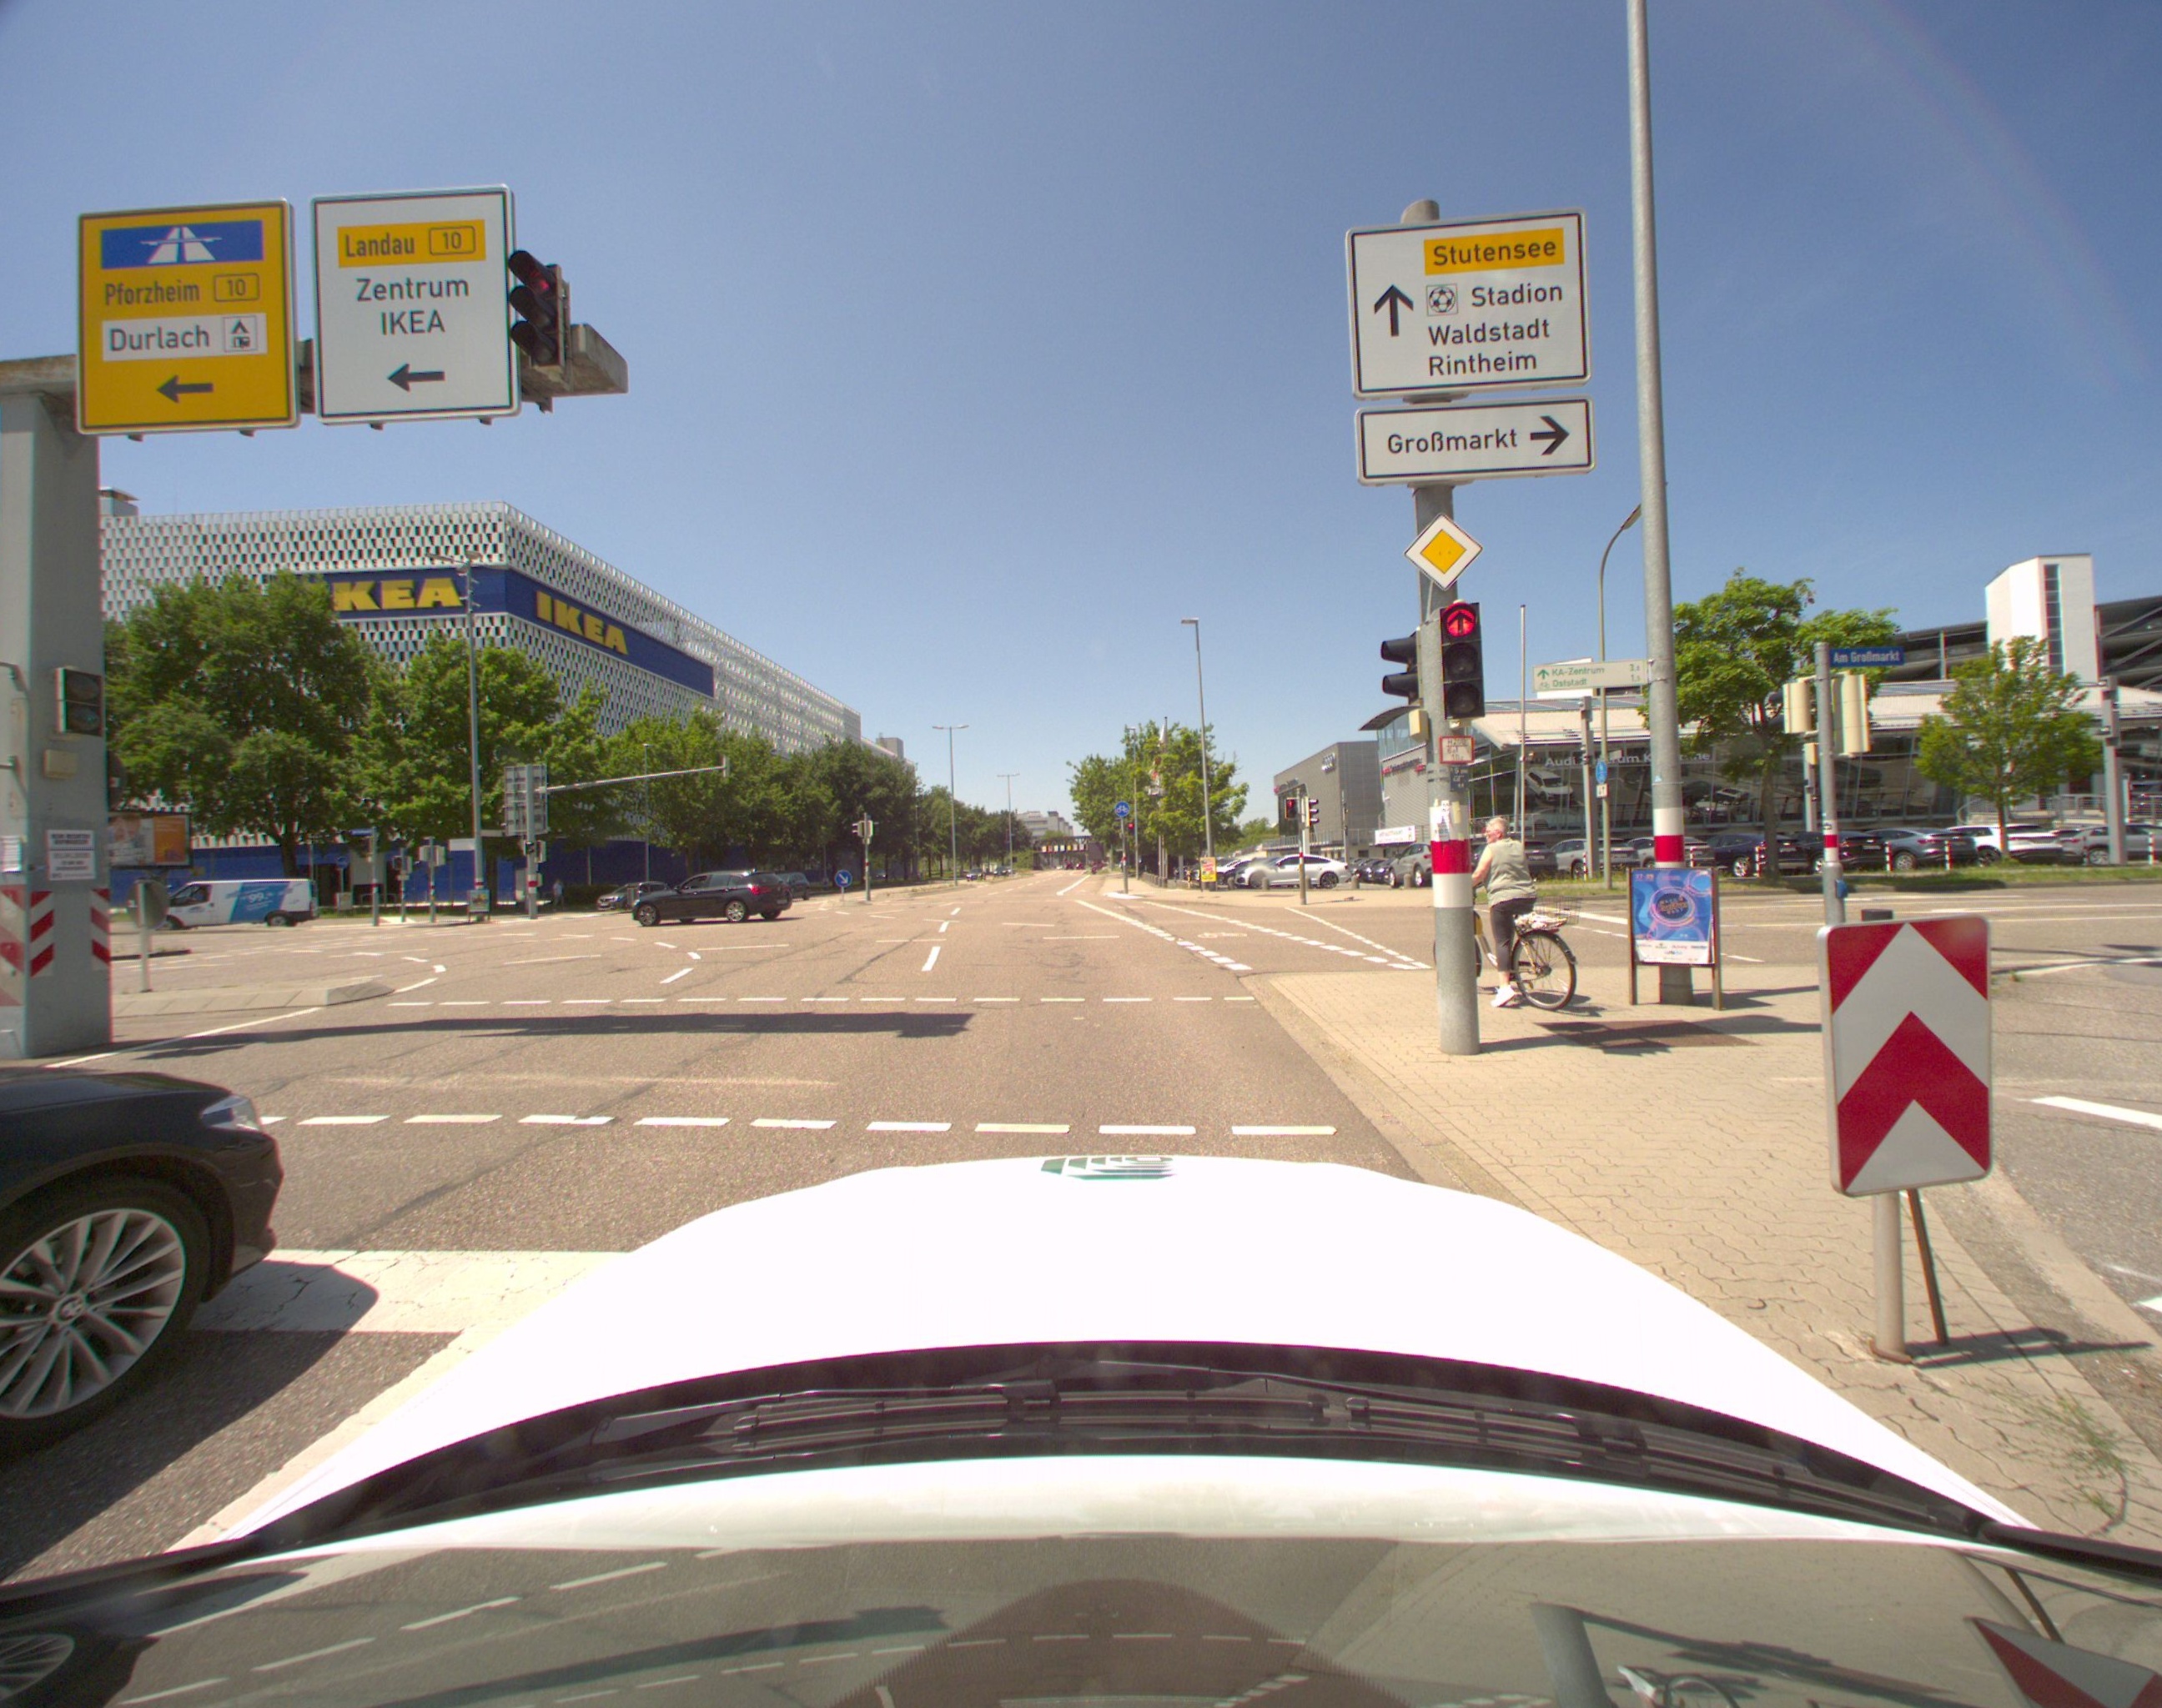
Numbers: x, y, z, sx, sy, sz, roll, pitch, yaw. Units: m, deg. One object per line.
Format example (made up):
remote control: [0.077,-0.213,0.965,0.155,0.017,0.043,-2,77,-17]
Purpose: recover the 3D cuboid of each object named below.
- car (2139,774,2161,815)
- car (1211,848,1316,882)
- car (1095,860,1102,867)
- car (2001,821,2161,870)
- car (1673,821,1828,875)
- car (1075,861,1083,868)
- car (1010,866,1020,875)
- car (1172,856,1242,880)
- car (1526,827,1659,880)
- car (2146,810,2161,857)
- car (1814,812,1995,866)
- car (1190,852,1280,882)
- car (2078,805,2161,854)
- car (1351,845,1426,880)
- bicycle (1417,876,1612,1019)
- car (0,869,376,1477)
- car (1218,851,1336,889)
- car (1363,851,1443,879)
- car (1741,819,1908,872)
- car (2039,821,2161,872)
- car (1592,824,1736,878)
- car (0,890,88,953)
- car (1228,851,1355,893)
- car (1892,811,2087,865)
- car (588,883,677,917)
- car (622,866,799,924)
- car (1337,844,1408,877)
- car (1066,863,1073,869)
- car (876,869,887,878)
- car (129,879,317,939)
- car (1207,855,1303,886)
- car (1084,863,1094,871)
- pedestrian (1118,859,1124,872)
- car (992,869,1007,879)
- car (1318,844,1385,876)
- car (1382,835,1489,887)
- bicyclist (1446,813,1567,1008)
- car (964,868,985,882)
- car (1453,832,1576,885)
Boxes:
car: [54.968,-3.041,39.506,1.989,2.013,3.995,-2,-1,-3]
car: [8.865,0.543,39.881,4.721,1.457,2.002,-2,0,3]
car: [4.752,2.654,220.868,1.765,1.728,4.001,-3,-1,2]
car: [40.289,-0.313,32.894,3.720,1.772,1.781,-3,-1,32]
car: [23.222,-0.196,28.509,1.821,1.639,4.476,-3,0,2]
car: [-0.540,2.871,220.078,1.765,1.728,4.001,-3,-1,2]
car: [-12.533,3.142,155.465,1.645,1.653,4.160,-2,-1,-2]
car: [9.045,0.976,58.774,4.726,1.457,2.000,-3,0,0]
car: [17.936,-0.018,28.840,1.986,1.639,4.443,-3,0,2]
car: [39.366,-0.801,26.933,4.705,1.639,1.844,-3,0,24]
car: [28.552,-0.484,28.477,1.821,1.639,4.476,-3,0,2]
car: [8.750,0.730,46.506,4.726,1.457,2.000,-2,0,0]
car: [46.547,-1.100,35.356,3.728,2.014,1.866,-2,-1,11]
car: [19.314,0.511,51.263,3.971,2.014,2.001,-2,-1,2]
bicycle: [4.051,0.813,7.820,0.784,1.127,1.919,-1,0,-2]
car: [-3.569,0.799,0.718,1.793,1.466,4.624,-1,0,1]
car: [8.520,0.717,35.741,4.721,1.457,2.002,-2,-2,3]
car: [19.293,0.649,48.919,4.076,1.460,1.720,-2,0,2]
car: [25.826,-0.291,28.527,1.821,1.639,4.476,-2,0,2]
car: [39.271,-0.279,30.685,3.665,1.777,1.759,-3,-1,28]
car: [20.335,-0.106,28.668,1.878,1.639,4.526,-3,0,2]
car: [-31.702,2.088,23.246,4.655,1.588,2.004,-6,-1,7]
car: [8.501,0.714,33.235,4.721,1.457,2.002,-2,0,3]
car: [31.201,-0.514,28.212,1.821,1.639,4.476,-3,0,2]
car: [-23.939,2.419,43.581,1.754,1.533,3.777,-1,0,28]
car: [-10.141,1.117,22.383,4.194,1.411,1.677,-2,-1,12]
car: [19.331,0.415,54.082,3.971,2.014,2.001,-2,-1,2]
car: [-3.221,3.299,225.839,1.765,1.728,4.001,-3,-1,2]
car: [-38.762,3.768,157.945,1.997,1.810,4.008,0,0,-15]
car: [-33.502,2.096,32.050,4.787,2.008,1.977,-2,-1,-38]
car: [9.280,0.881,43.700,4.726,1.457,2.000,-2,0,0]
car: [1.032,1.654,105.389,1.133,1.042,2.309,-2,0,2]
pedestrian: [4.691,1.356,95.835,0.665,1.510,0.736,-2,-1,1]
car: [-11.675,2.843,117.042,1.678,1.411,3.666,-3,-1,2]
car: [18.743,0.416,56.568,3.971,2.014,2.001,-2,-1,2]
car: [12.423,0.236,28.842,1.986,1.639,4.270,-2,0,2]
bicyclist: [4.019,0.504,7.744,0.732,1.749,0.753,-1,0,-3]
car: [-12.144,2.429,93.166,1.725,1.427,3.707,-4,-1,2]
car: [15.088,0.149,28.686,1.986,1.639,4.559,-2,0,2]
